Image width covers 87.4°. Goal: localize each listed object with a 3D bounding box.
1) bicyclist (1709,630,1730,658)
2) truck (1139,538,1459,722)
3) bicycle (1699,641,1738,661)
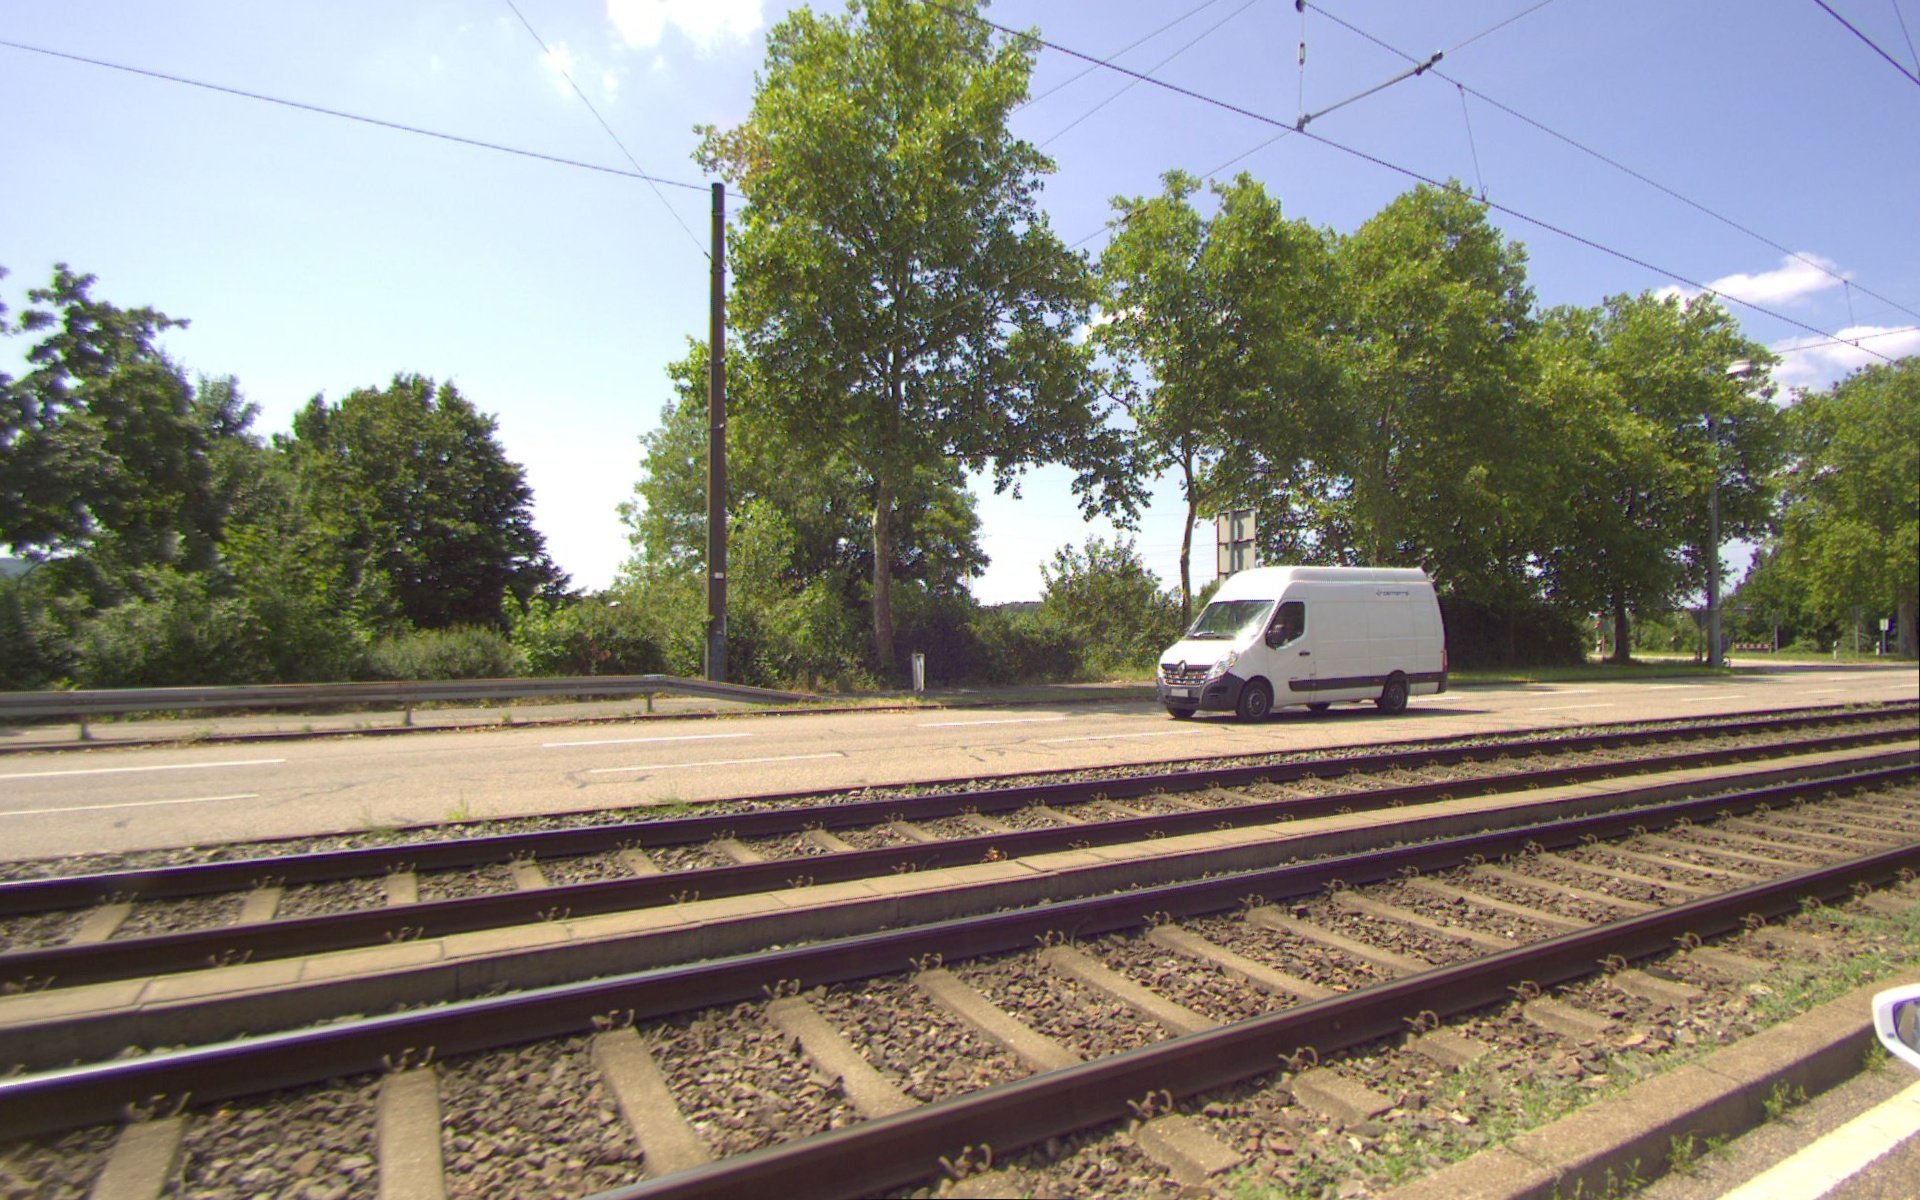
[{"bbox_3d":[38.833,2.248,51.331,0.635,1.448,0.585,0,-1,-17],"label":"bicyclist"},{"bbox_3d":[6.435,0.565,18.749,6.244,2.977,2.045,1,-2,-30],"label":"truck"},{"bbox_3d":[38.736,2.602,51.301,1.733,1.001,0.731,1,-1,-18],"label":"bicycle"}]
